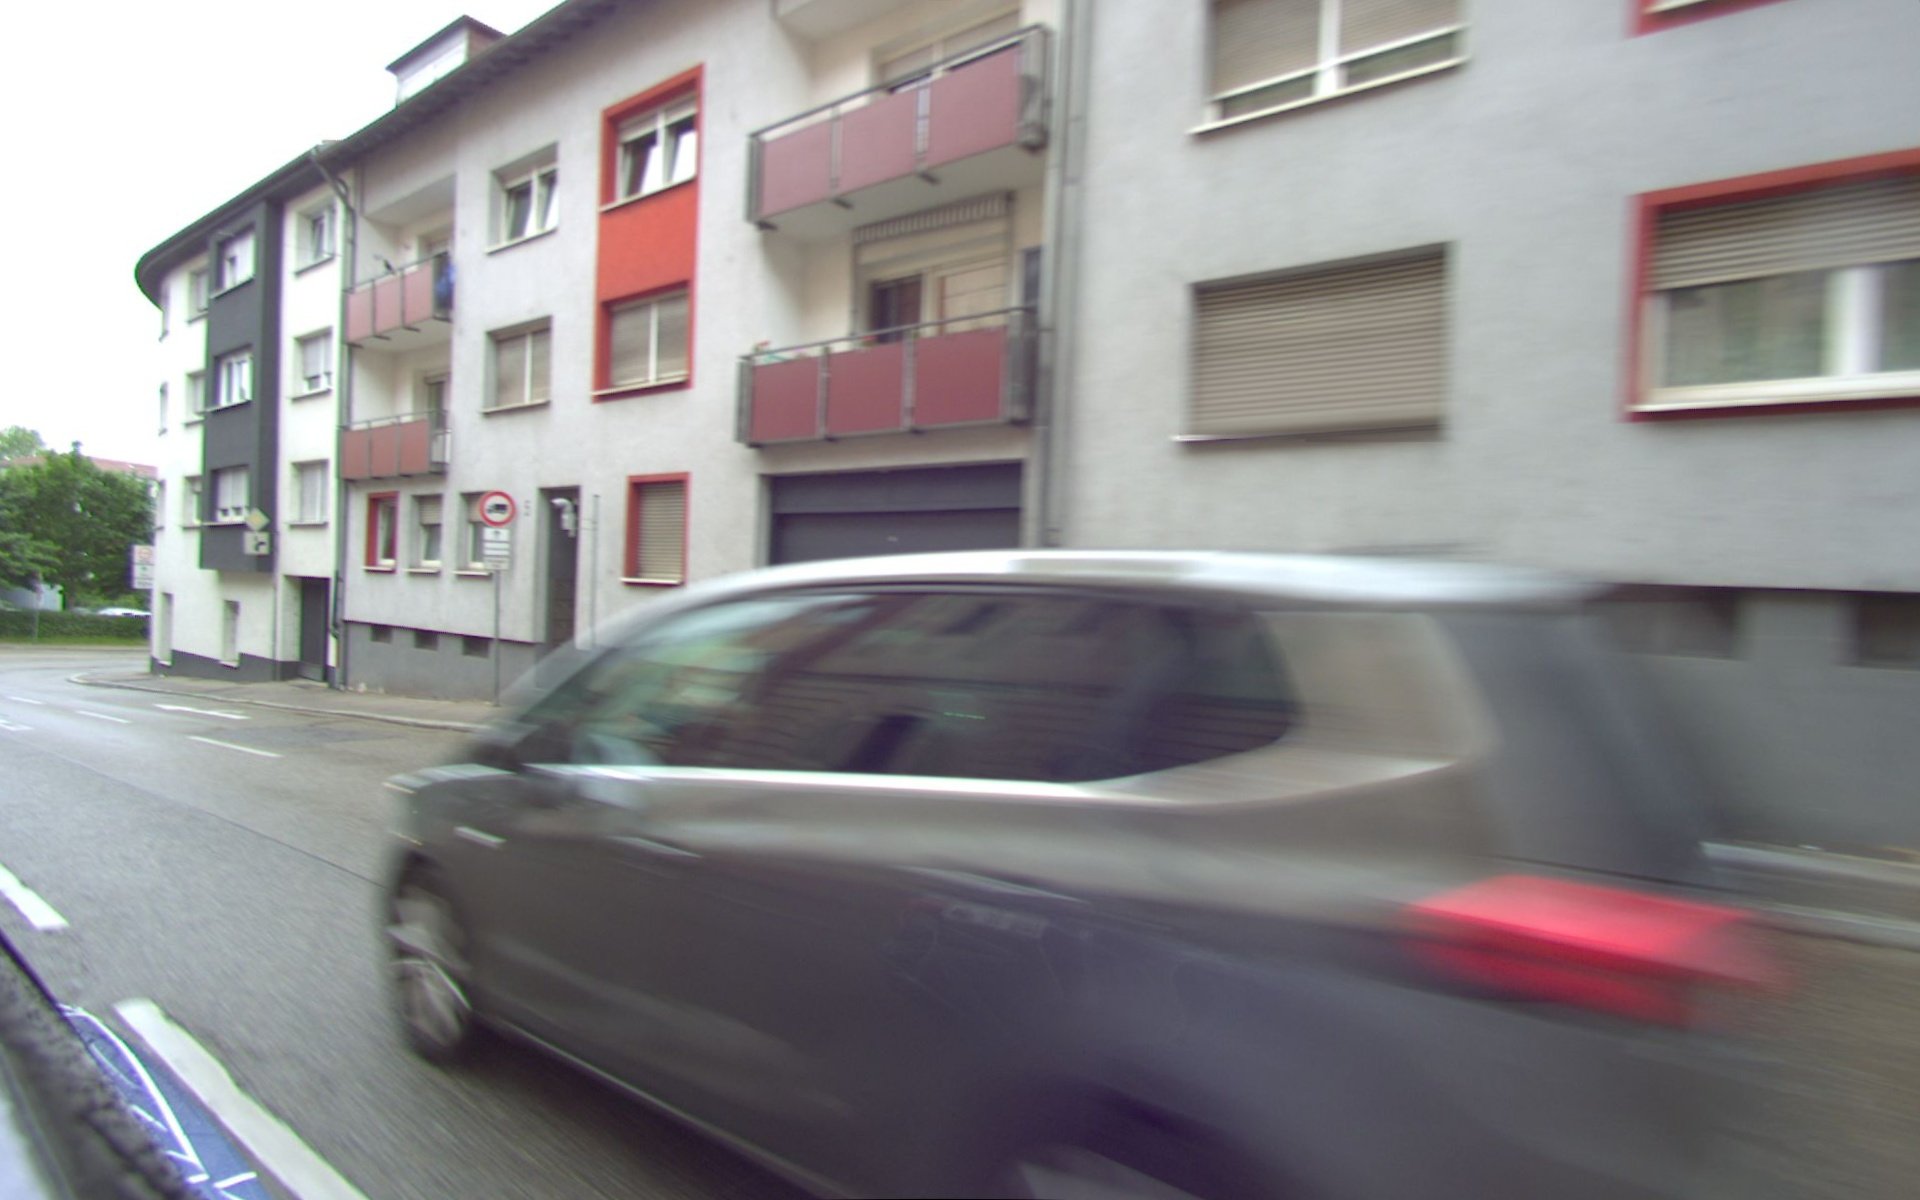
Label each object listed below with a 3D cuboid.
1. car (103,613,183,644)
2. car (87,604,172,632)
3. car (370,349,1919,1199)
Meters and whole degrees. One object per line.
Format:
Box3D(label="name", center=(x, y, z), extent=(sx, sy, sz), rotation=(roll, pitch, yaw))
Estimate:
Box3D(label="car", center=(-50.329, 1.779, 62.357), extent=(4.175, 1.634, 1.628), rotation=(2, -3, 16))
Box3D(label="car", center=(-55.189, 1.220, 67.323), extent=(1.785, 1.522, 3.976), rotation=(2, -4, 18))
Box3D(label="car", center=(0.039, 0.636, 2.896), extent=(3.984, 1.670, 1.746), rotation=(-1, -2, 41))
